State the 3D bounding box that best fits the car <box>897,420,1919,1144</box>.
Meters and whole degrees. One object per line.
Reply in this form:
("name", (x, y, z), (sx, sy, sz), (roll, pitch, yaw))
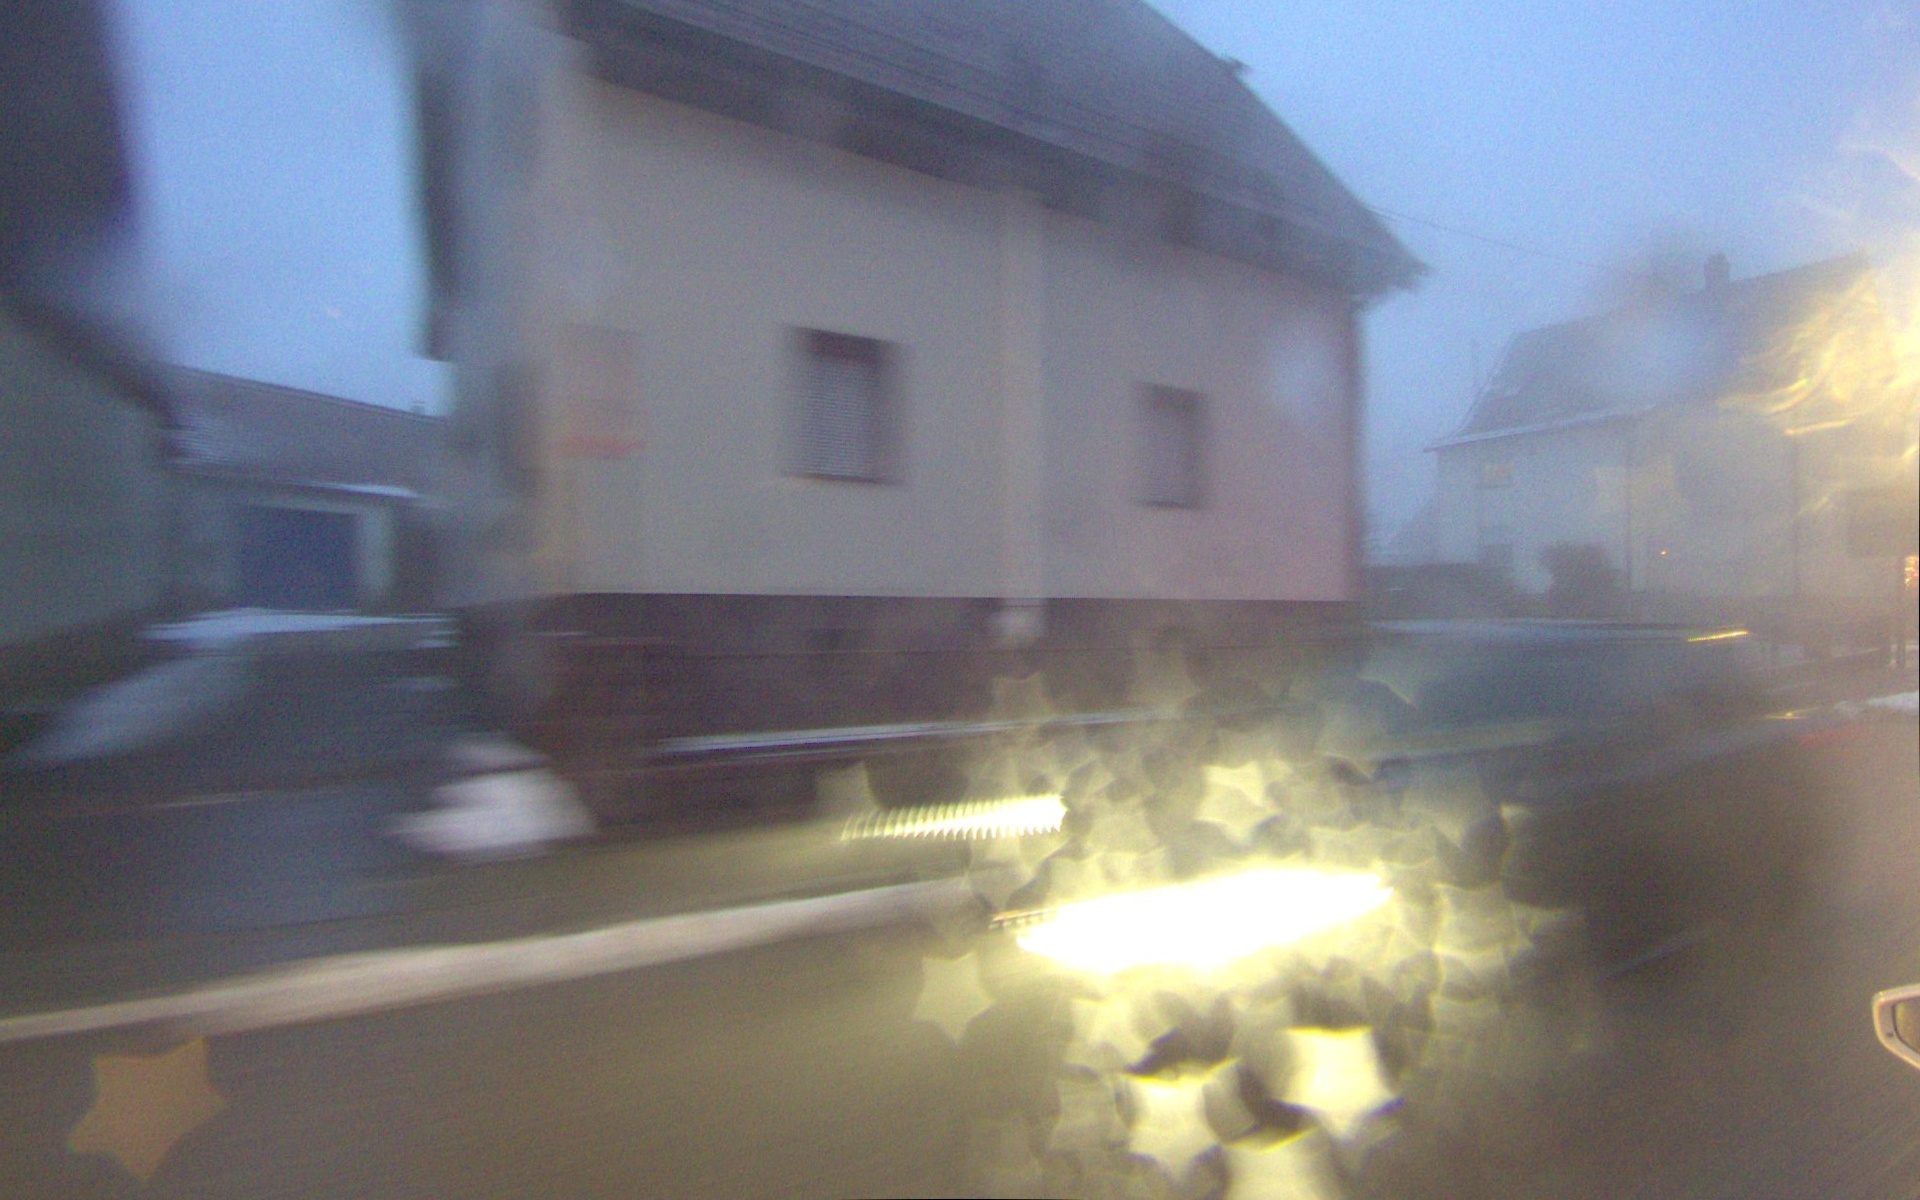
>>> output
("car", (2.139, 0.546, 4.327), (4.428, 1.709, 1.831), (4, -2, -31))
